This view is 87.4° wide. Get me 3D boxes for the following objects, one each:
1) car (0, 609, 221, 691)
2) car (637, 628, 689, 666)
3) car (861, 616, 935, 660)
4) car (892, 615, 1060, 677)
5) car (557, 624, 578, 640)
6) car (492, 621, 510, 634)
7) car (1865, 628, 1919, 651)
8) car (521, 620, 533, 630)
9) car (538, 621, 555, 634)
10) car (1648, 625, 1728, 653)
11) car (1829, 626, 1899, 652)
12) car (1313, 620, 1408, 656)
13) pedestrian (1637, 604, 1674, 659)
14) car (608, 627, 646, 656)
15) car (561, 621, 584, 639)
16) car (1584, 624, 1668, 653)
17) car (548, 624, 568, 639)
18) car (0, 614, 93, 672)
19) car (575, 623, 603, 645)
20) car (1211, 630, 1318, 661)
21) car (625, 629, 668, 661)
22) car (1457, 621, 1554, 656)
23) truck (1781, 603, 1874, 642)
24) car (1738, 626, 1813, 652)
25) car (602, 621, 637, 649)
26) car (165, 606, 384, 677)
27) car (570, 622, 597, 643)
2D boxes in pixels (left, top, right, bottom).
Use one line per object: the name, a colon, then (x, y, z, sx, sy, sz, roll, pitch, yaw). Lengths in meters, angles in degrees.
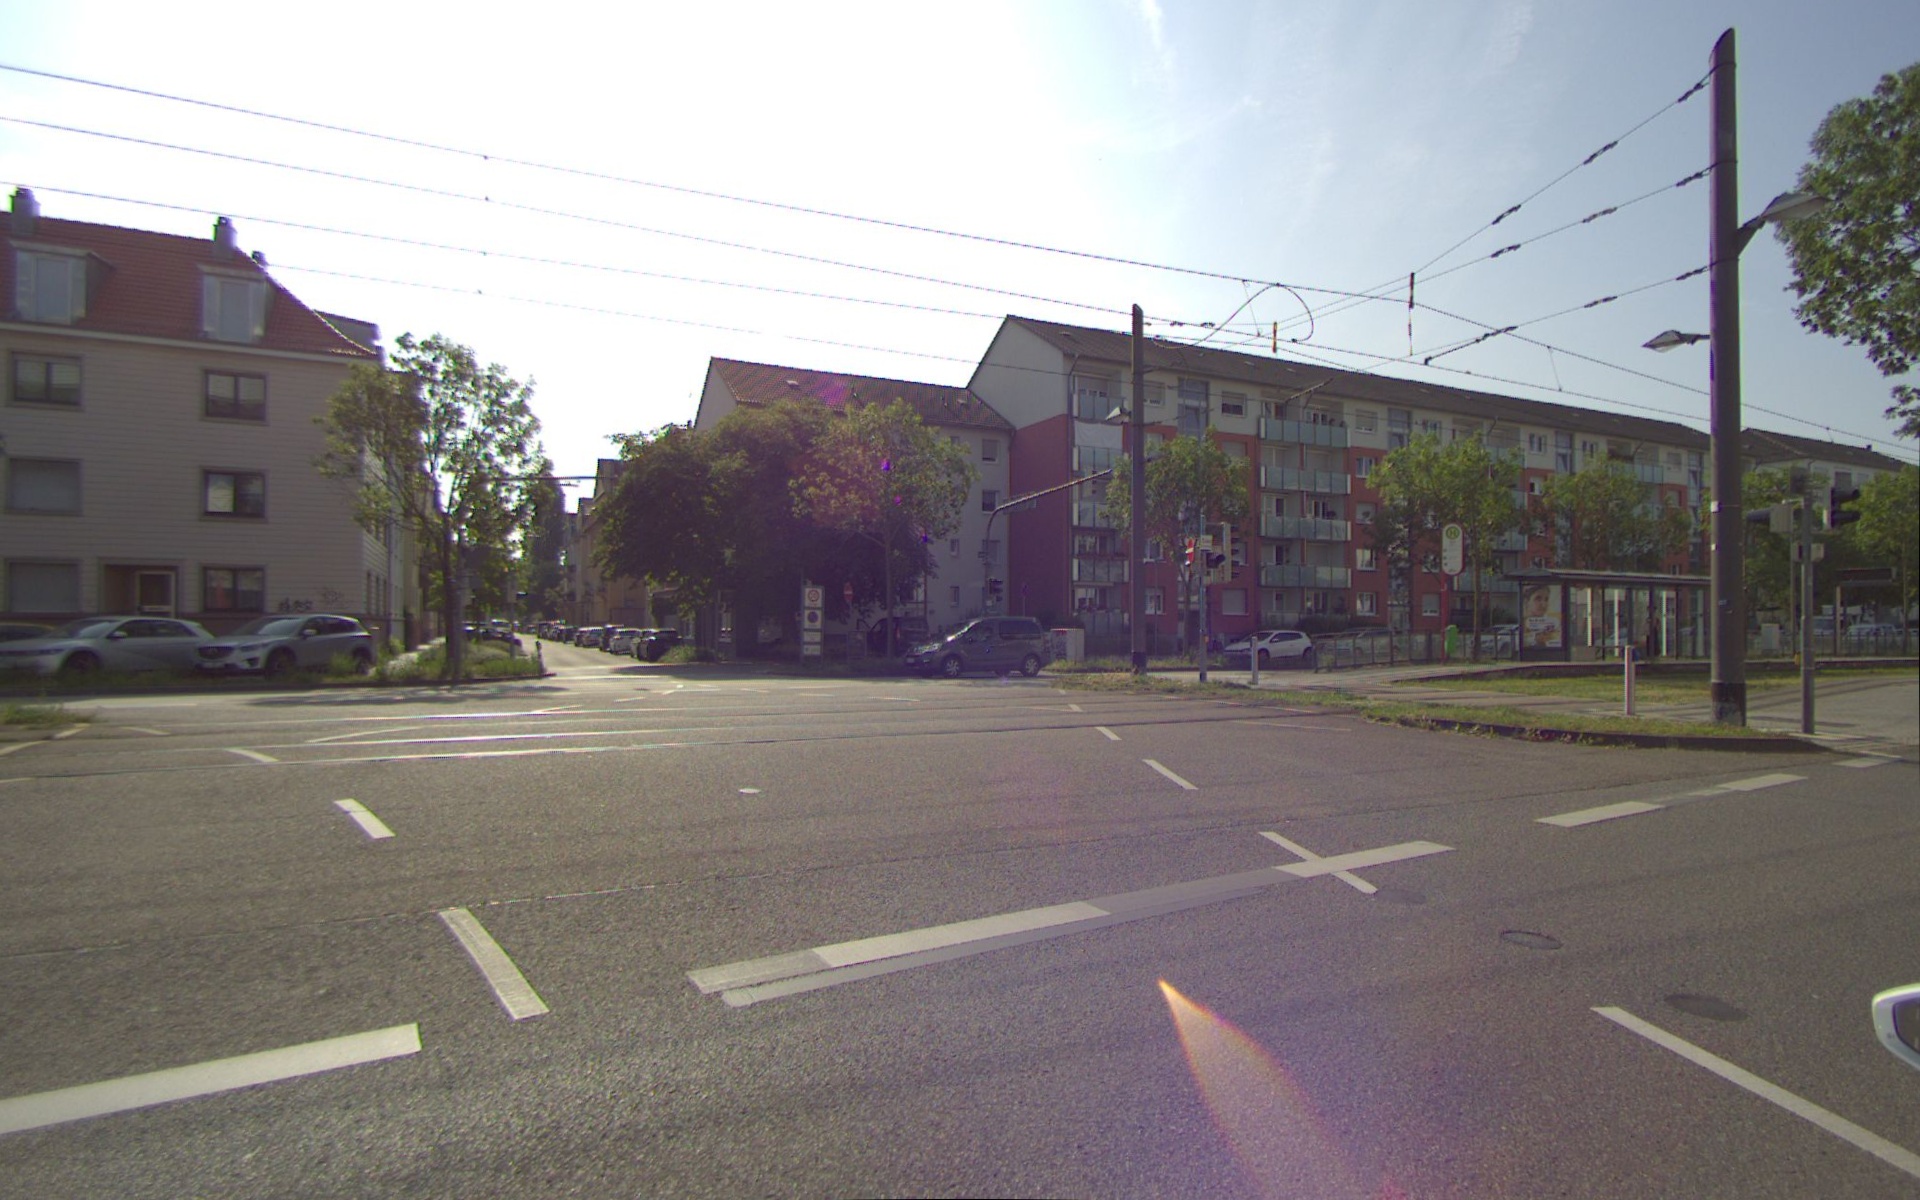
car: (-19.249, 1.020, 22.277, 1.959, 1.534, 4.467, 1, 0, 10)
car: (-14.702, 2.273, 49.620, 1.971, 1.627, 3.976, 1, 0, -24)
car: (-2.823, 1.663, 44.766, 1.973, 1.717, 3.974, 1, 0, -25)
car: (0.498, 1.377, 29.852, 4.655, 1.728, 1.986, 1, -3, -29)
car: (-38.937, 3.176, 99.632, 1.795, 1.494, 3.977, 1, -1, -24)
car: (-52.992, 3.144, 115.903, 1.797, 1.494, 3.974, 1, -2, -26)
car: (62.179, 2.577, 66.416, 4.624, 1.397, 1.973, 1, 0, -28)
car: (-71.917, 4.227, 166.996, 1.795, 1.495, 3.976, 1, 0, -24)
car: (-52.184, 3.441, 126.751, 1.795, 1.495, 3.976, 1, 0, -24)
car: (39.792, 2.114, 54.886, 4.017, 1.378, 1.973, 1, 0, -28)
car: (57.541, 2.481, 63.935, 4.226, 1.533, 1.973, 1, 0, -28)
car: (17.539, 1.652, 44.016, 3.778, 1.490, 1.826, 1, 0, -28)
pedestrian: (21.719, 0.975, 31.369, 0.785, 1.675, 0.668, 1, -1, -31)
car: (-19.965, 2.452, 60.104, 1.795, 1.495, 3.976, 1, 0, -24)
car: (-35.918, 2.773, 92.988, 1.795, 1.495, 3.976, 1, 0, -24)
car: (34.883, 2.012, 52.643, 4.017, 1.378, 1.973, 1, 0, -28)
car: (-42.338, 3.322, 105.697, 1.795, 1.494, 3.977, 1, 0, -24)
car: (-21.809, 0.944, 21.893, 1.960, 1.194, 4.002, 1, 0, 14)
car: (-27.997, 2.556, 75.757, 1.795, 1.495, 3.976, 1, 0, -24)
car: (12.470, 1.835, 41.084, 4.112, 1.163, 1.826, 1, 0, -28)
car: (-16.983, 2.426, 54.312, 1.795, 1.495, 3.976, 1, 0, -24)
car: (26.349, 1.834, 48.495, 4.479, 1.577, 1.973, 1, 0, -28)
truck: (59.590, 1.551, 68.966, 7.149, 2.597, 2.356, 1, 0, -28)
car: (48.086, 2.285, 59.221, 4.017, 1.378, 1.973, 1, 0, -28)
car: (-22.591, 2.275, 66.518, 1.904, 1.663, 3.978, 1, 0, -23)
car: (-16.271, 0.915, 24.168, 1.924, 1.483, 4.355, 1, 0, 7)
car: (-30.252, 2.578, 80.712, 1.795, 1.495, 3.976, 1, 0, -24)
